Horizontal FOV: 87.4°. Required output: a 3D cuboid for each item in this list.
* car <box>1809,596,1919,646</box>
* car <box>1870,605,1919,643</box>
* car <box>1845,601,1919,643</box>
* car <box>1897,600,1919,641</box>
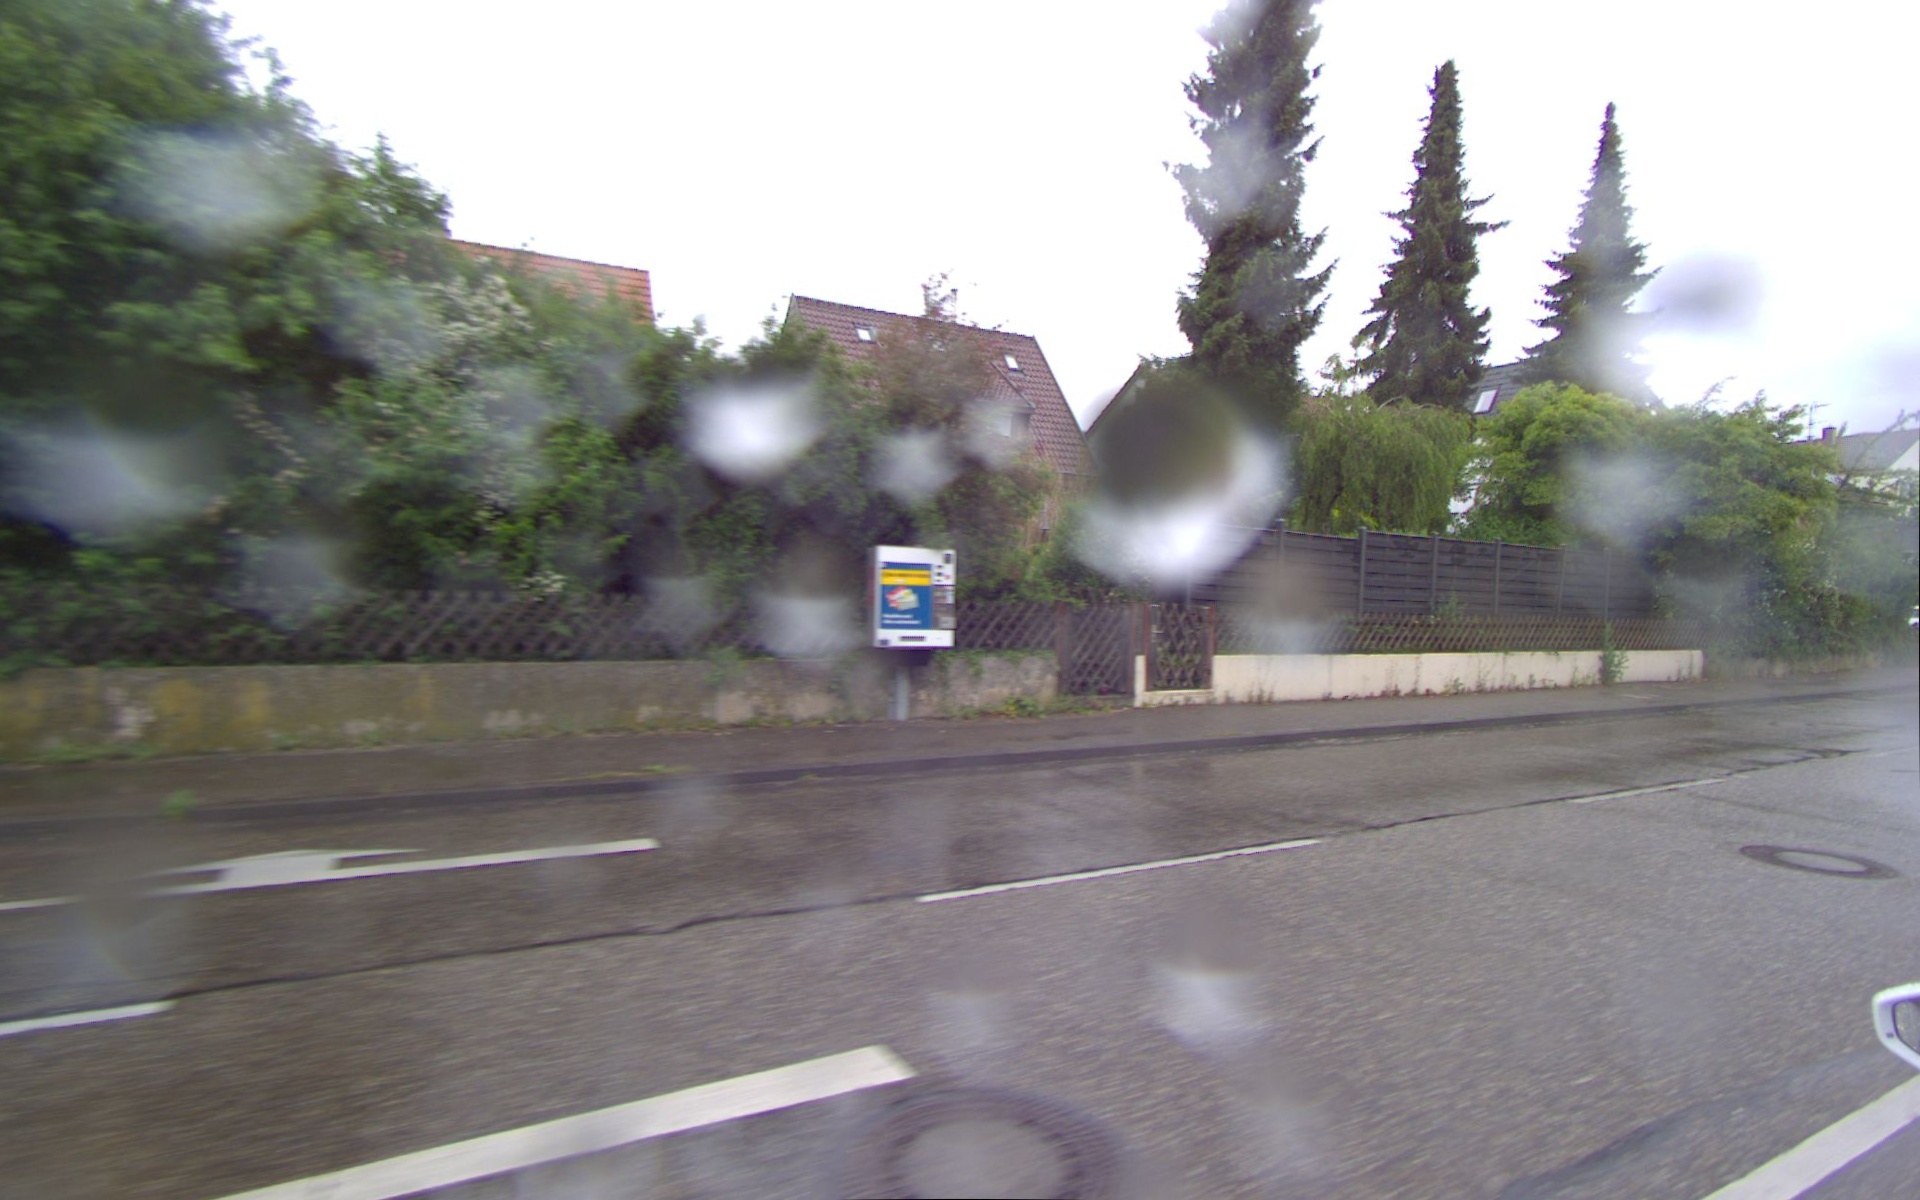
[{"bbox_3d":[34.022,0.778,36.711,1.932,1.606,4.081,1,2,-28],"label":"car"},{"bbox_3d":[38.273,0.951,39.043,1.683,1.465,3.974,1,0,-26],"label":"car"},{"bbox_3d":[36.415,0.870,37.962,1.945,1.454,3.972,1,2,-27],"label":"car"},{"bbox_3d":[41.442,0.907,41.253,1.784,1.709,3.976,1,0,-24],"label":"car"}]
